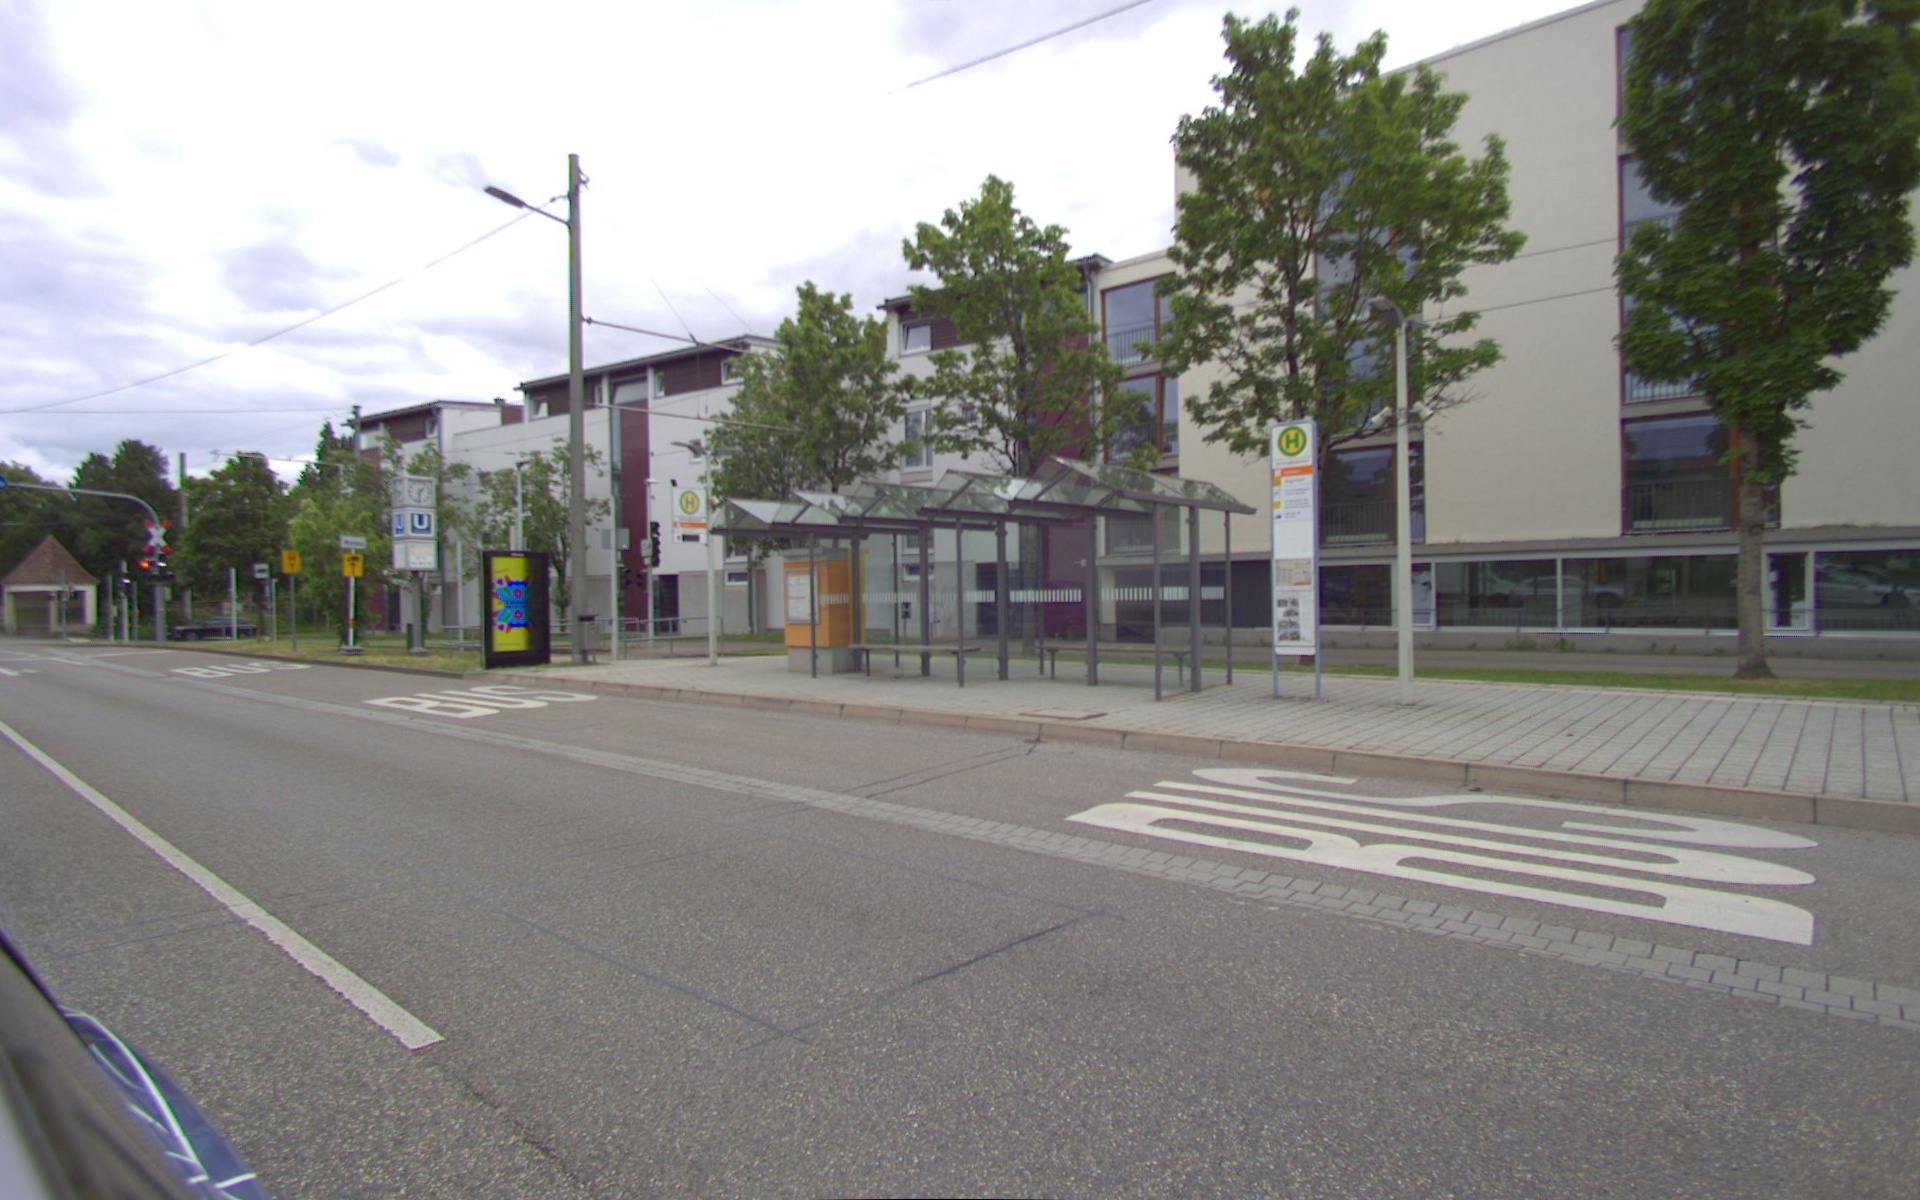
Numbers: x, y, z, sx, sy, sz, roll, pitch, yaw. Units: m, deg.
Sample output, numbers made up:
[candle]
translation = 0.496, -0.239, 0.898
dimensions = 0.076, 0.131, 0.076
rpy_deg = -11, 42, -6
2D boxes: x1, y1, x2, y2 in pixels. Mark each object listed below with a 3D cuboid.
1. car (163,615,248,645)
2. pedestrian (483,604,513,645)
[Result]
[car]
translation = -47.663, 1.842, 64.003
dimensions = 1.926, 1.719, 3.949
rpy_deg = -1, 0, 38
[pedestrian]
translation = -18.259, 0.960, 40.019
dimensions = 0.778, 1.607, 0.773
rpy_deg = -1, 0, 32
